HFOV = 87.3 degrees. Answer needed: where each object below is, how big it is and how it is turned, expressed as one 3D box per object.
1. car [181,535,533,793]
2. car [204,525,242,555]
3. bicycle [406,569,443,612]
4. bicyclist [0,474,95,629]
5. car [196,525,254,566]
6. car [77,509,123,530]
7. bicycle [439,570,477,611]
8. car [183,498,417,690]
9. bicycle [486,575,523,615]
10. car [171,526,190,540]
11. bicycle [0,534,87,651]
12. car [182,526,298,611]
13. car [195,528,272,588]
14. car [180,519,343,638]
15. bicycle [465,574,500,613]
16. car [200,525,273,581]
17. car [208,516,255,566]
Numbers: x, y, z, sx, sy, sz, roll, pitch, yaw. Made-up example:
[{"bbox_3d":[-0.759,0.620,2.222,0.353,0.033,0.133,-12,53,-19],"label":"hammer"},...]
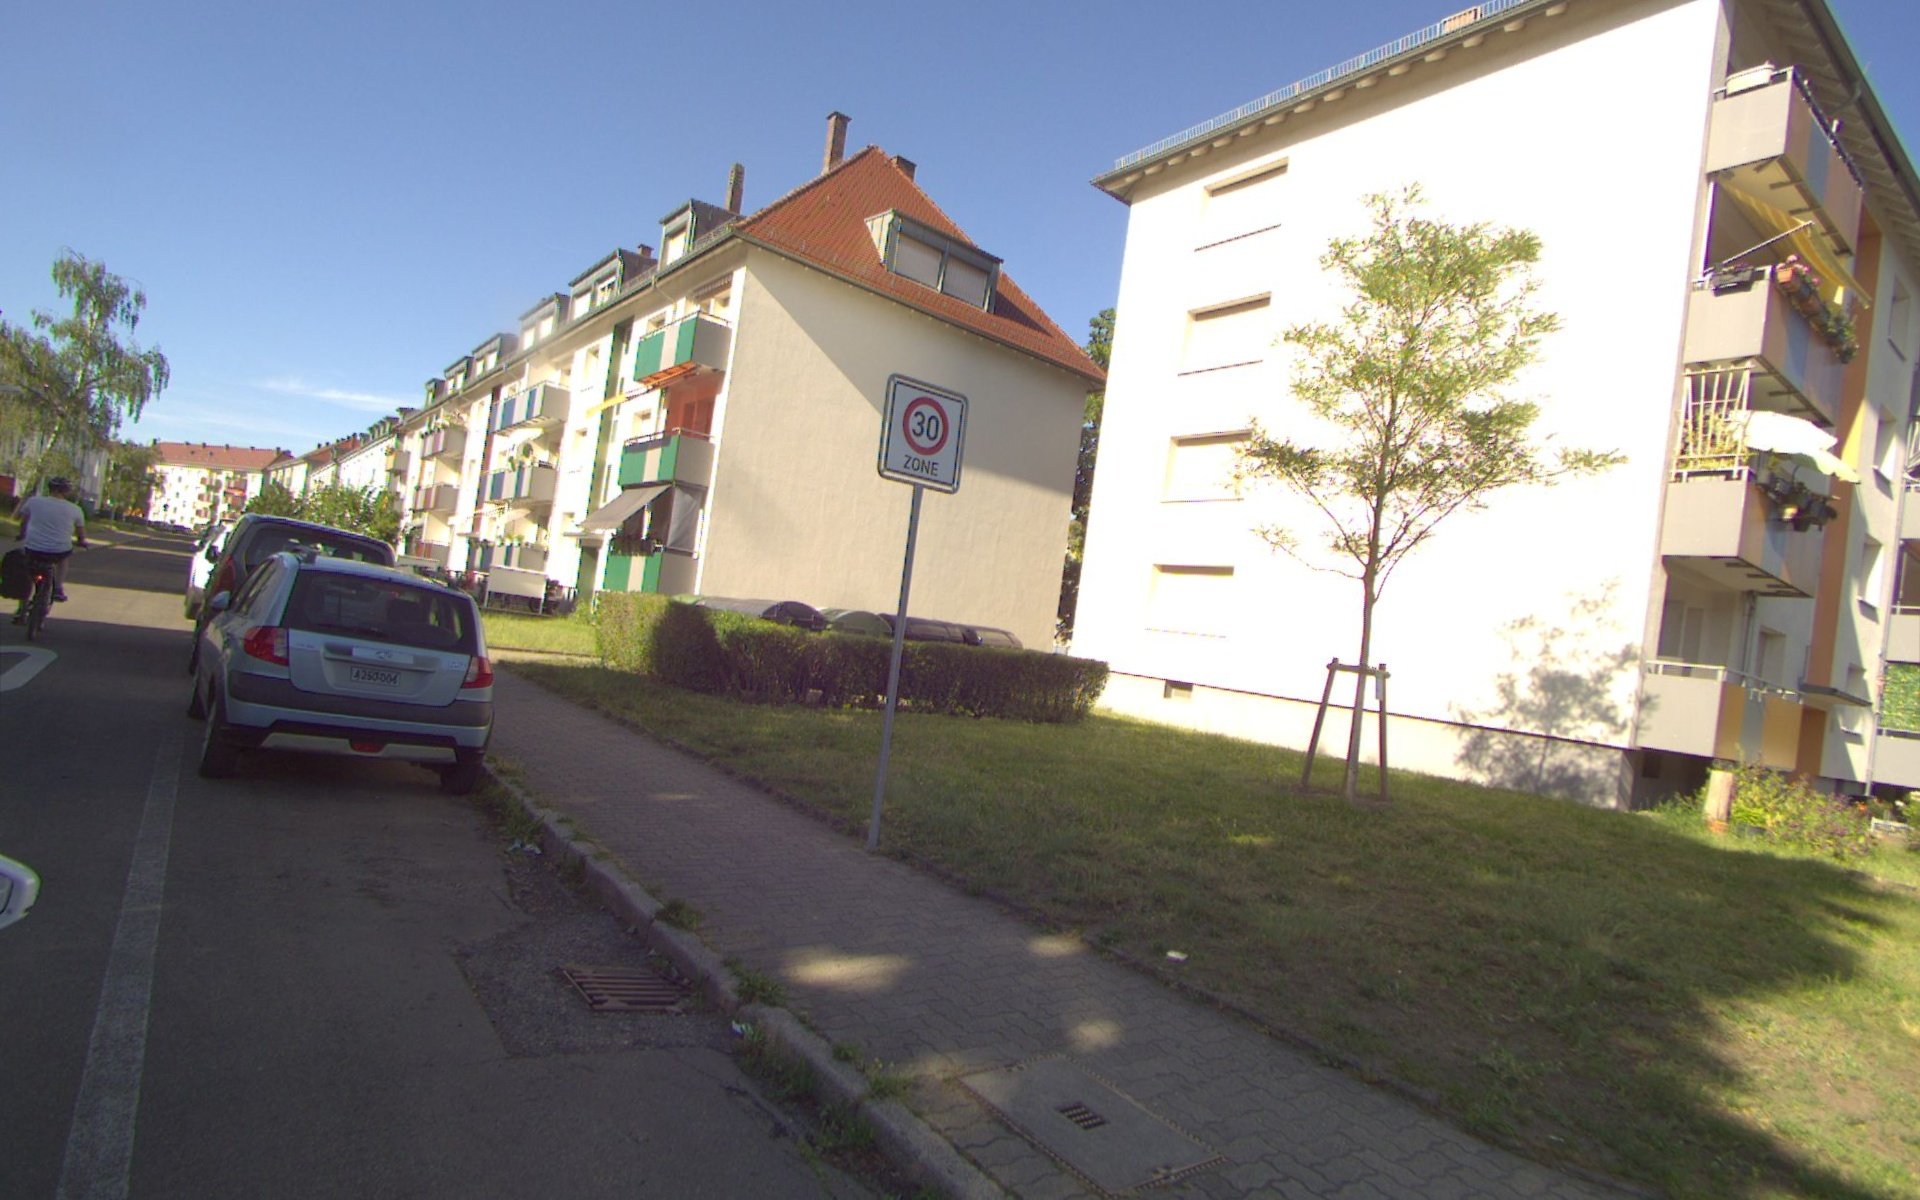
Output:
[{"bbox_3d":[-4.871,0.379,7.855,1.647,1.445,3.857,10,-3,-40],"label":"car"},{"bbox_3d":[-48.728,-3.949,66.512,1.798,1.622,4.360,10,-3,-37],"label":"car"},{"bbox_3d":[-15.979,-0.292,29.991,0.556,1.105,1.882,9,-2,-37],"label":"bicycle"},{"bbox_3d":[-10.412,-0.541,11.415,0.691,1.614,0.783,9,-2,-39],"label":"bicyclist"},{"bbox_3d":[-33.542,-2.488,45.883,1.886,1.513,4.051,10,-3,-37],"label":"car"},{"bbox_3d":[-103.926,-9.696,121.561,3.971,1.822,1.979,9,-2,-39],"label":"car"},{"bbox_3d":[-15.295,-0.301,30.625,0.556,1.105,1.882,9,-2,-37],"label":"bicycle"},{"bbox_3d":[-8.092,-0.125,12.212,1.855,1.750,4.252,9,-3,-37],"label":"car"},{"bbox_3d":[-14.381,-0.166,31.716,0.556,1.116,1.811,9,-2,-37],"label":"bicycle"},{"bbox_3d":[-107.688,-9.260,138.940,1.751,1.593,3.859,9,-2,-41],"label":"car"},{"bbox_3d":[-10.437,-0.115,11.360,0.658,1.140,1.747,10,-3,-38],"label":"bicycle"},{"bbox_3d":[-15.758,-0.723,21.953,1.750,1.448,3.591,10,-3,-38],"label":"car"},{"bbox_3d":[-22.861,-1.346,31.612,1.626,1.506,3.585,12,-4,-38],"label":"car"},{"bbox_3d":[-12.358,-0.424,17.687,1.975,1.610,4.082,10,-3,-38],"label":"car"},{"bbox_3d":[-14.872,-0.216,31.300,0.512,1.066,1.846,9,-2,-37],"label":"bicycle"},{"bbox_3d":[-25.646,-1.684,35.627,1.827,1.575,3.960,10,-3,-37],"label":"car"},{"bbox_3d":[-36.720,-2.963,50.699,1.612,2.168,3.960,9,-2,-37],"label":"car"}]
